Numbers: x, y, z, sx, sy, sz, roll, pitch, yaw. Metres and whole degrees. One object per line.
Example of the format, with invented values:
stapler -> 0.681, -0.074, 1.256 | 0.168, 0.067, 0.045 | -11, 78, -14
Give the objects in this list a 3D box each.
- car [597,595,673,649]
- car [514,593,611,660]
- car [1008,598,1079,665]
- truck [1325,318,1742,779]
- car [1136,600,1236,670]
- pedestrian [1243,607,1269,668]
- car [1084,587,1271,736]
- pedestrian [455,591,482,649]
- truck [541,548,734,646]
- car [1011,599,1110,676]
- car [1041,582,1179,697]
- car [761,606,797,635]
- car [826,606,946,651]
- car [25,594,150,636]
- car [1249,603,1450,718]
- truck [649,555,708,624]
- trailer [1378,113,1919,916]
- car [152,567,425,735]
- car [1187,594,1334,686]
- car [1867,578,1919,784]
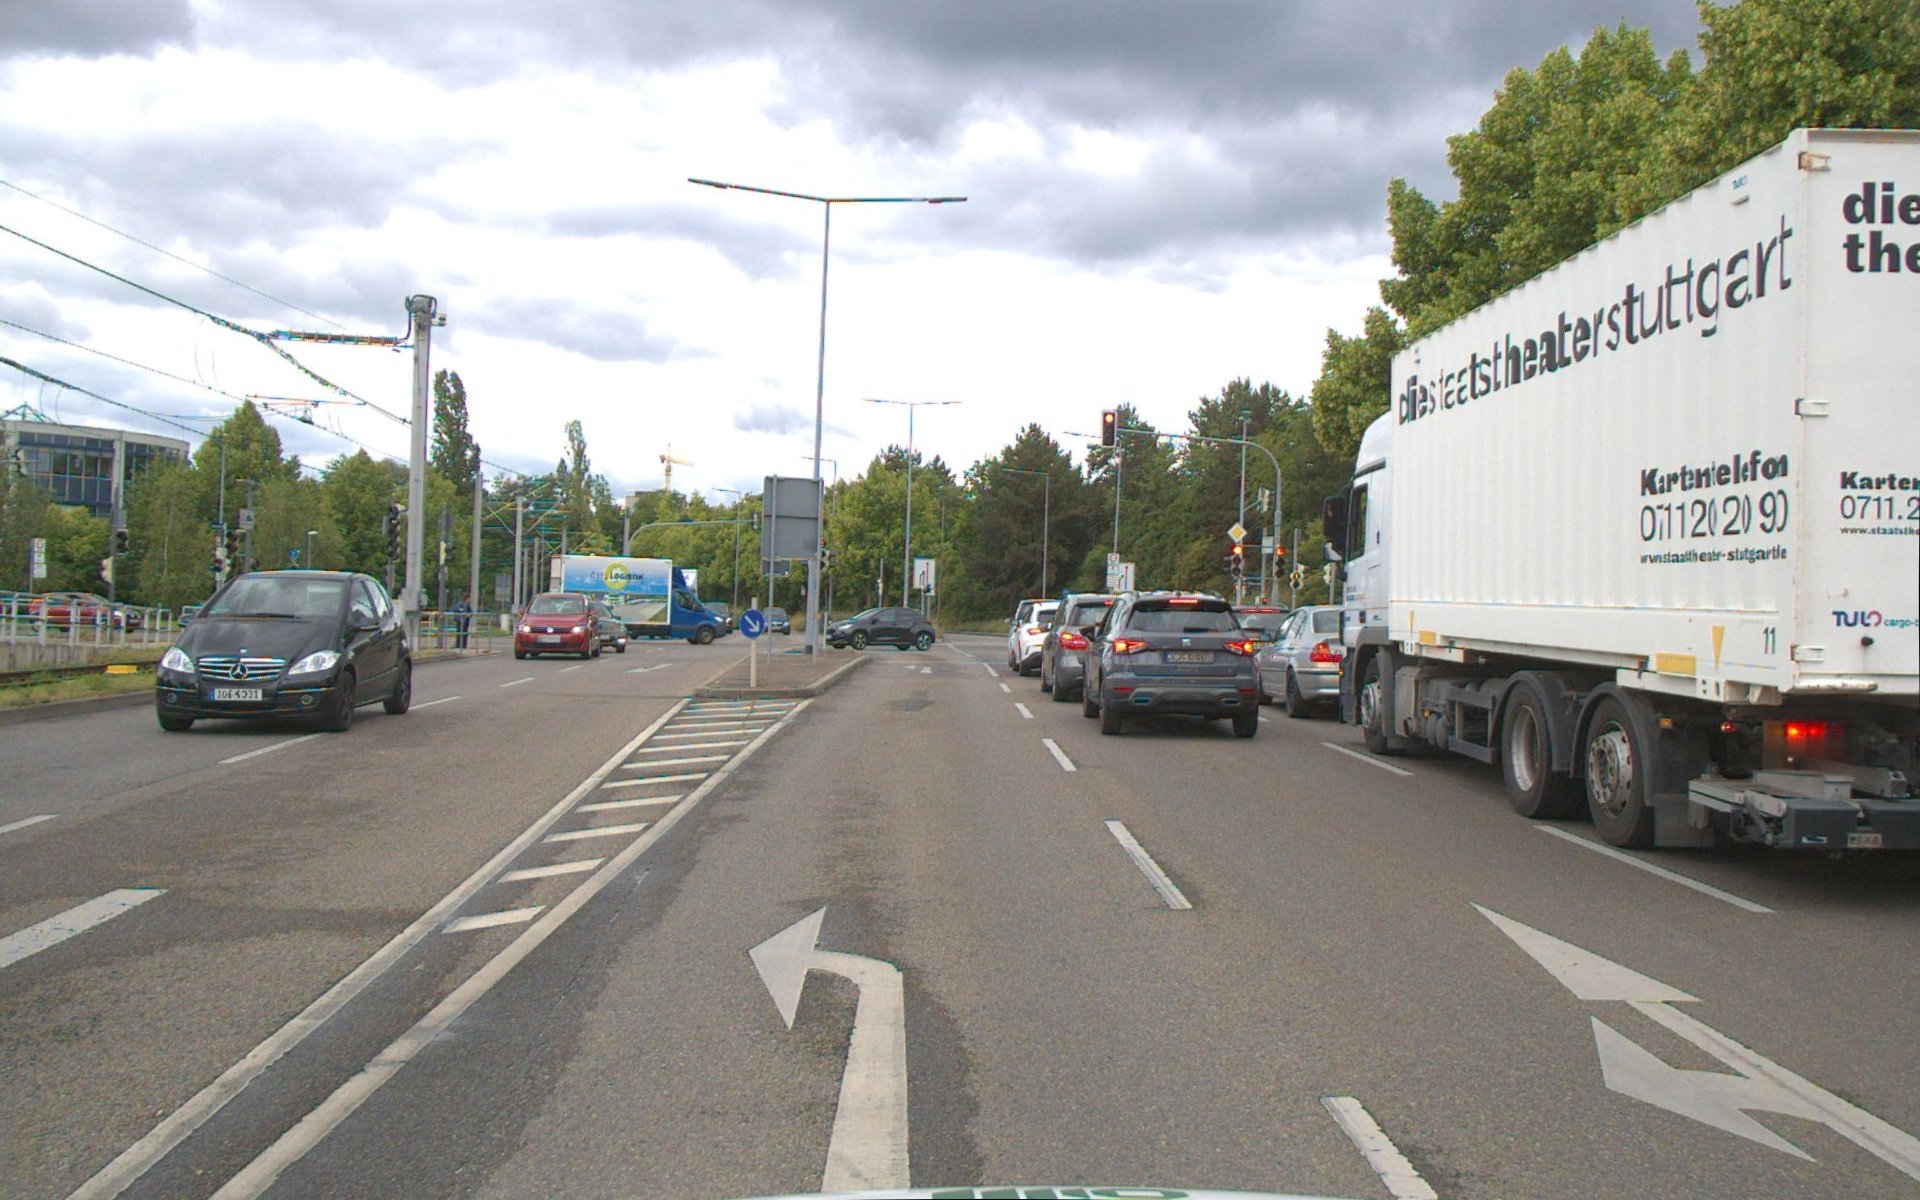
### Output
car -> -9.326, 0.596, 47.770 | 1.658, 1.464, 4.541 | 0, 1, -5
car -> -9.560, 0.599, 40.061 | 1.669, 1.514, 4.082 | 0, 0, -5
car -> 1.936, 0.731, 39.030 | 1.504, 1.531, 2.669 | 0, -1, -1
truck -> 5.172, -0.451, 15.671 | 2.518, 3.770, 4.106 | 0, 1, 0
car -> 4.846, 0.739, 35.886 | 1.514, 1.428, 3.998 | 0, -1, -2
pedestrian -> 7.340, 0.926, 41.061 | 0.598, 1.479, 0.354 | 1, -1, 8
car -> 2.385, 0.634, 19.019 | 1.663, 1.512, 4.000 | 1, 0, 1
pedestrian -> -13.641, 0.550, 45.914 | 0.347, 1.583, 0.651 | 2, 3, 33
truck -> -12.912, -0.118, 66.191 | 7.138, 3.661, 2.675 | 1, 2, -22
car -> 1.992, 0.733, 33.790 | 1.686, 1.446, 4.356 | 0, 0, -1
car -> 2.160, 0.520, 24.751 | 1.762, 1.550, 4.188 | 0, 1, 1
car -> -10.694, 1.195, 97.618 | 1.881, 1.603, 3.991 | 0, 1, -9
car -> -2.560, 0.976, 57.555 | 3.876, 1.522, 1.586 | 0, 0, -25
car -> -33.257, 0.580, 63.086 | 3.902, 1.543, 1.733 | 0, -2, 9
car -> 5.078, 0.738, 22.092 | 1.774, 1.378, 4.118 | 0, 0, 1
truck -> -16.189, -0.594, 95.649 | 2.608, 3.713, 9.491 | 1, 0, -6
trailer -> 5.192, -0.430, 11.663 | 2.513, 3.770, 7.764 | 0, 1, 0
car -> -7.010, 0.494, 17.663 | 1.692, 1.601, 3.702 | 0, 0, -6
car -> 5.095, 0.668, 28.544 | 1.788, 1.460, 4.212 | 0, -1, 0
car -> 8.316, 0.691, 12.122 | 1.538, 1.598, 3.059 | 2, 1, -2
